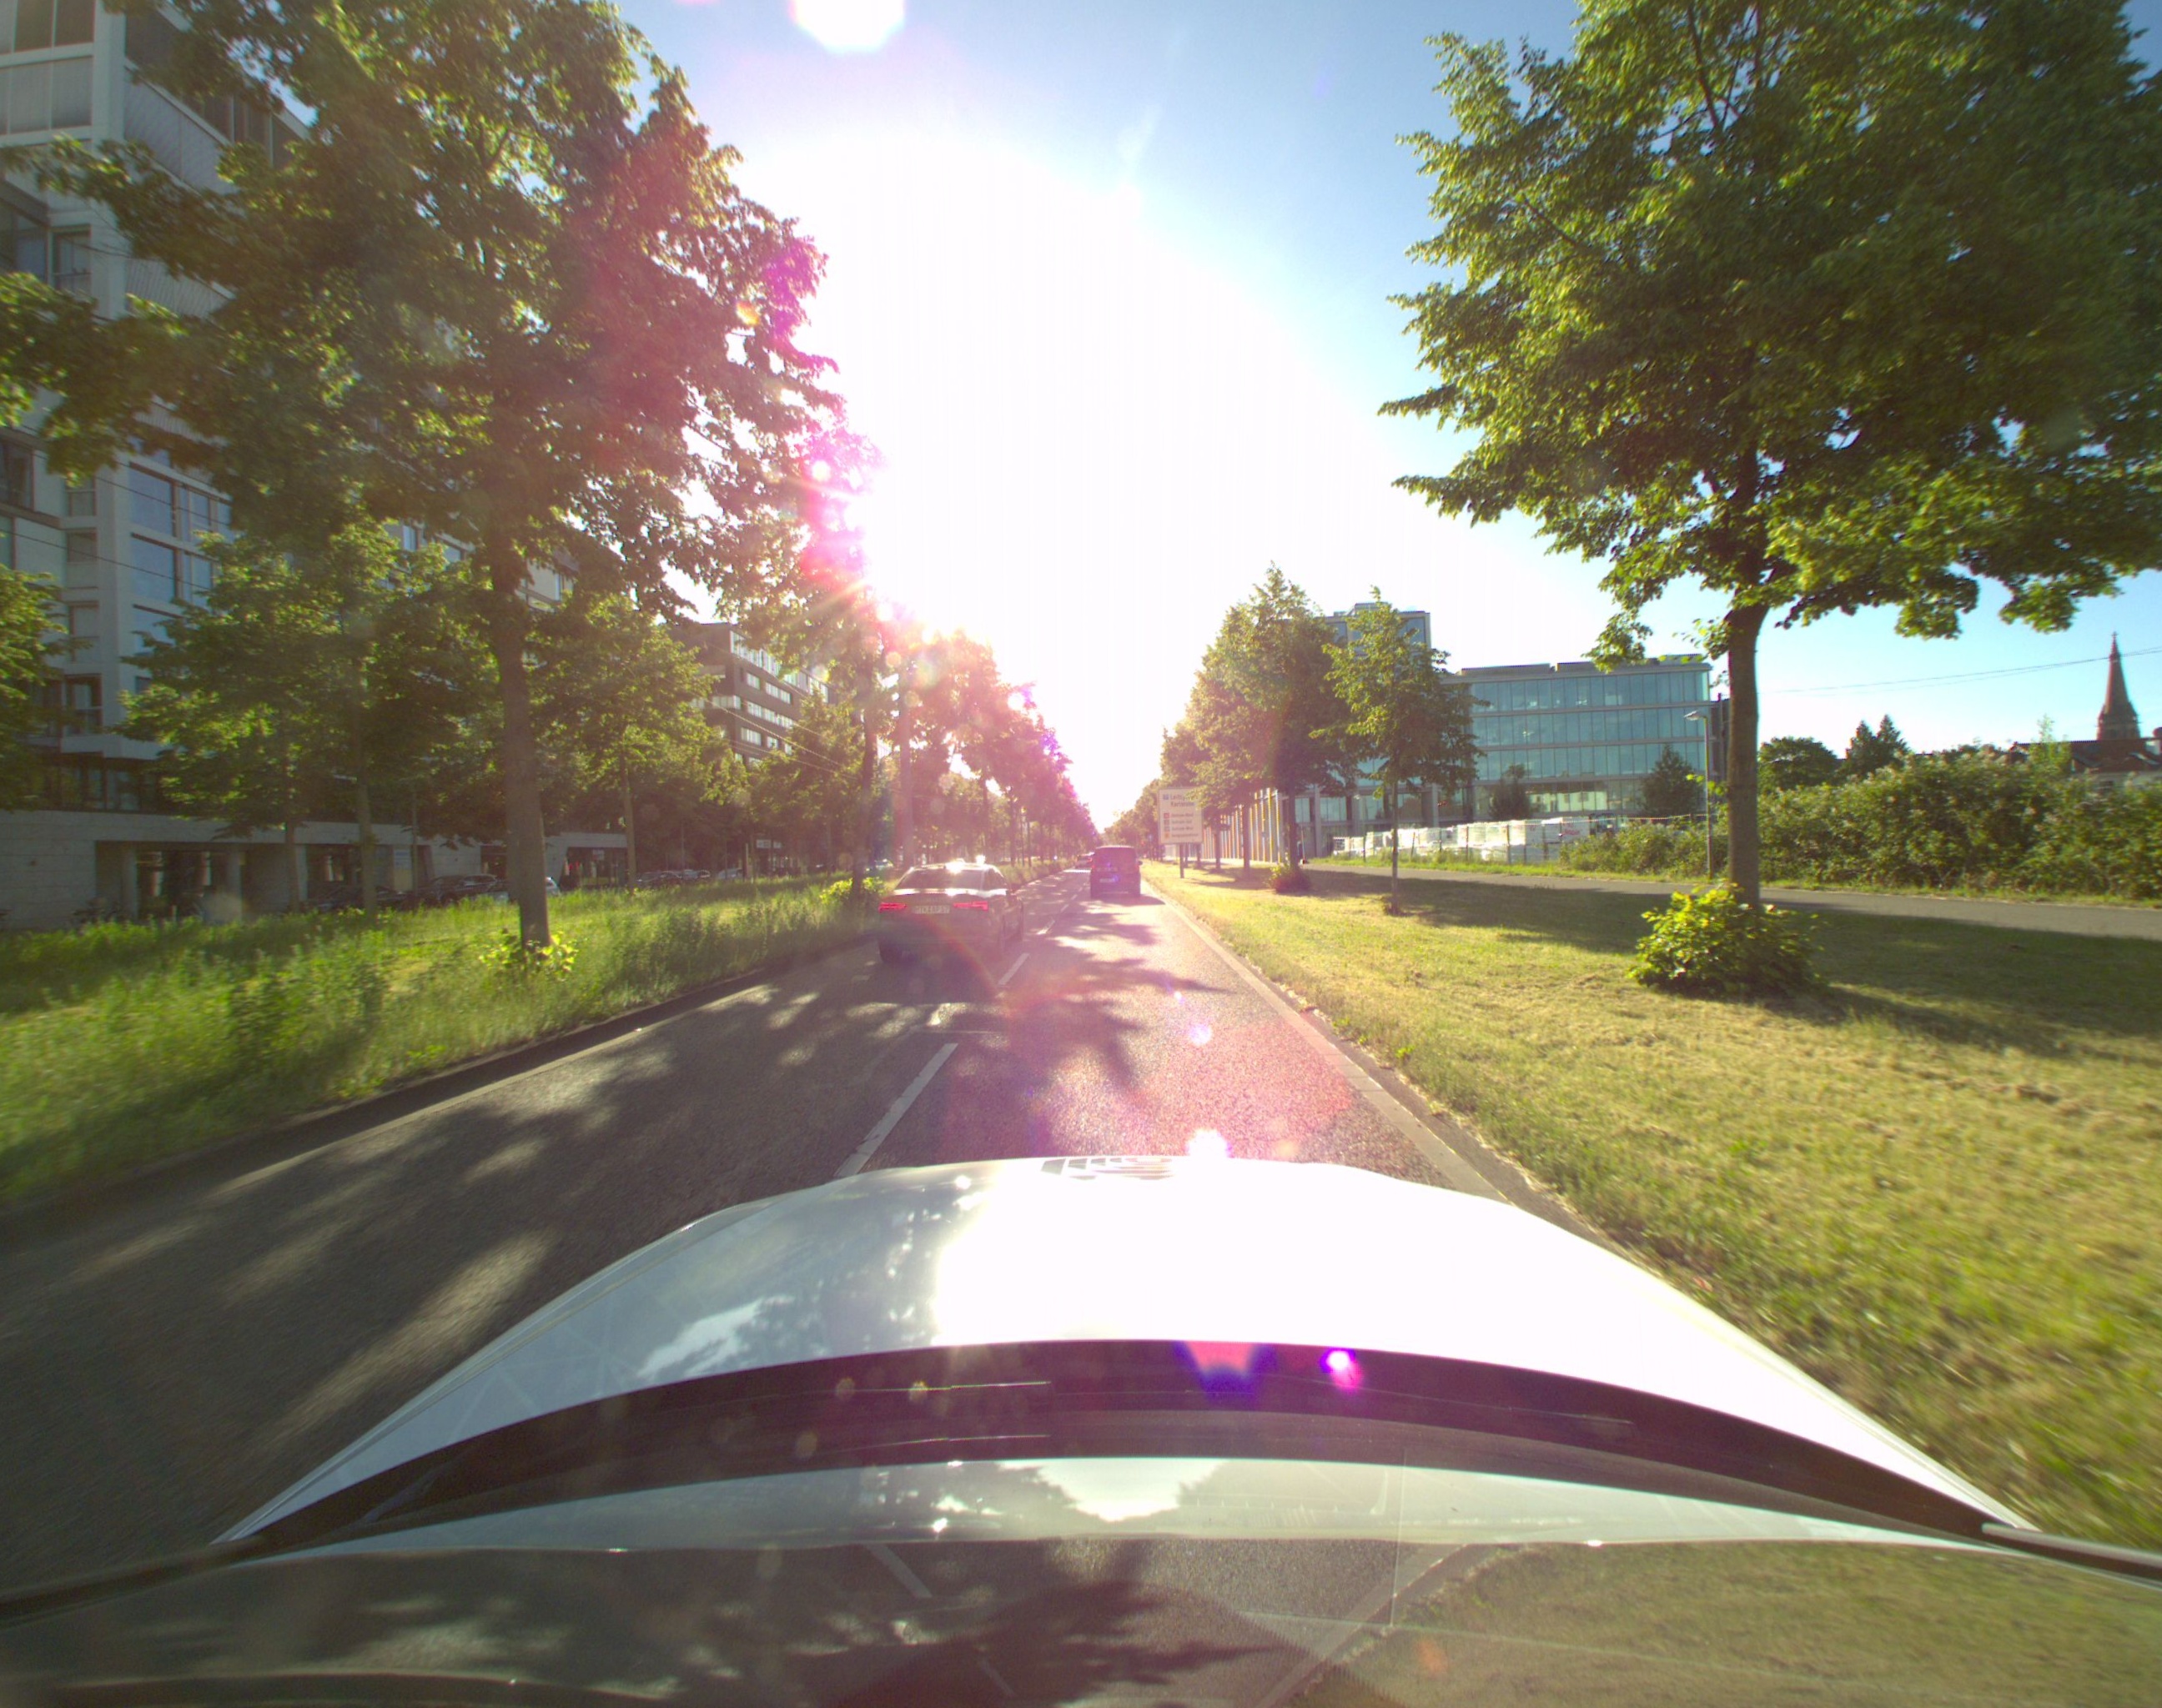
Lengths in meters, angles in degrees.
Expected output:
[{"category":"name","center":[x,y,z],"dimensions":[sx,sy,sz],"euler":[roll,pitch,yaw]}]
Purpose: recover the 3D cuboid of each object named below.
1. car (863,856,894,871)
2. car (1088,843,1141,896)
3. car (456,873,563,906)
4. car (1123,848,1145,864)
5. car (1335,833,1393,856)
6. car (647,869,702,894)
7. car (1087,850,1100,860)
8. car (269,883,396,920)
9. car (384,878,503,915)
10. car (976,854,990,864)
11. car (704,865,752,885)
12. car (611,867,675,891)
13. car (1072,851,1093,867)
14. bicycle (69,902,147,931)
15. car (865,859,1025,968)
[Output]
[{"category":"car","center":[-19.650,0.884,79.299],"dimensions":[1.791,1.292,4.312],"euler":[-3,1,1]},{"category":"car","center":[1.188,0.524,29.555],"dimensions":[1.791,1.777,4.001],"euler":[0,0,1]},{"category":"car","center":[-23.408,1.439,33.495],"dimensions":[1.761,1.238,3.489],"euler":[-2,-2,5]},{"category":"car","center":[5.088,0.151,78.332],"dimensions":[1.716,1.425,3.814],"euler":[0,1,-2]},{"category":"car","center":[27.437,-0.887,79.131],"dimensions":[5.037,1.981,1.943],"euler":[-2,0,9]},{"category":"car","center":[-32.803,2.154,65.887],"dimensions":[1.791,1.777,5.130],"euler":[-1,1,1]},{"category":"car","center":[2.042,0.215,134.311],"dimensions":[1.835,1.534,3.943],"euler":[-2,0,3]},{"category":"car","center":[-29.812,1.861,32.583],"dimensions":[1.662,1.207,3.584],"euler":[-2,0,2]},{"category":"car","center":[-29.657,1.938,38.110],"dimensions":[1.662,1.420,4.807],"euler":[-2,0,2]},{"category":"car","center":[-17.582,0.854,145.697],"dimensions":[1.791,1.689,4.323],"euler":[-1,1,2]},{"category":"car","center":[-28.608,1.692,66.193],"dimensions":[1.708,1.420,4.548],"euler":[-2,0,2]},{"category":"car","center":[-29.686,1.654,55.347],"dimensions":[1.708,1.420,4.548],"euler":[-2,0,2]},{"category":"car","center":[0.149,0.468,78.747],"dimensions":[1.936,1.441,4.000],"euler":[-2,0,0]},{"category":"bicycle","center":[-37.051,2.372,31.039],"dimensions":[0.539,0.972,1.983],"euler":[-2,-2,2]},{"category":"car","center":[-1.937,0.796,12.818],"dimensions":[1.715,1.366,4.147],"euler":[-1,0,1]}]
